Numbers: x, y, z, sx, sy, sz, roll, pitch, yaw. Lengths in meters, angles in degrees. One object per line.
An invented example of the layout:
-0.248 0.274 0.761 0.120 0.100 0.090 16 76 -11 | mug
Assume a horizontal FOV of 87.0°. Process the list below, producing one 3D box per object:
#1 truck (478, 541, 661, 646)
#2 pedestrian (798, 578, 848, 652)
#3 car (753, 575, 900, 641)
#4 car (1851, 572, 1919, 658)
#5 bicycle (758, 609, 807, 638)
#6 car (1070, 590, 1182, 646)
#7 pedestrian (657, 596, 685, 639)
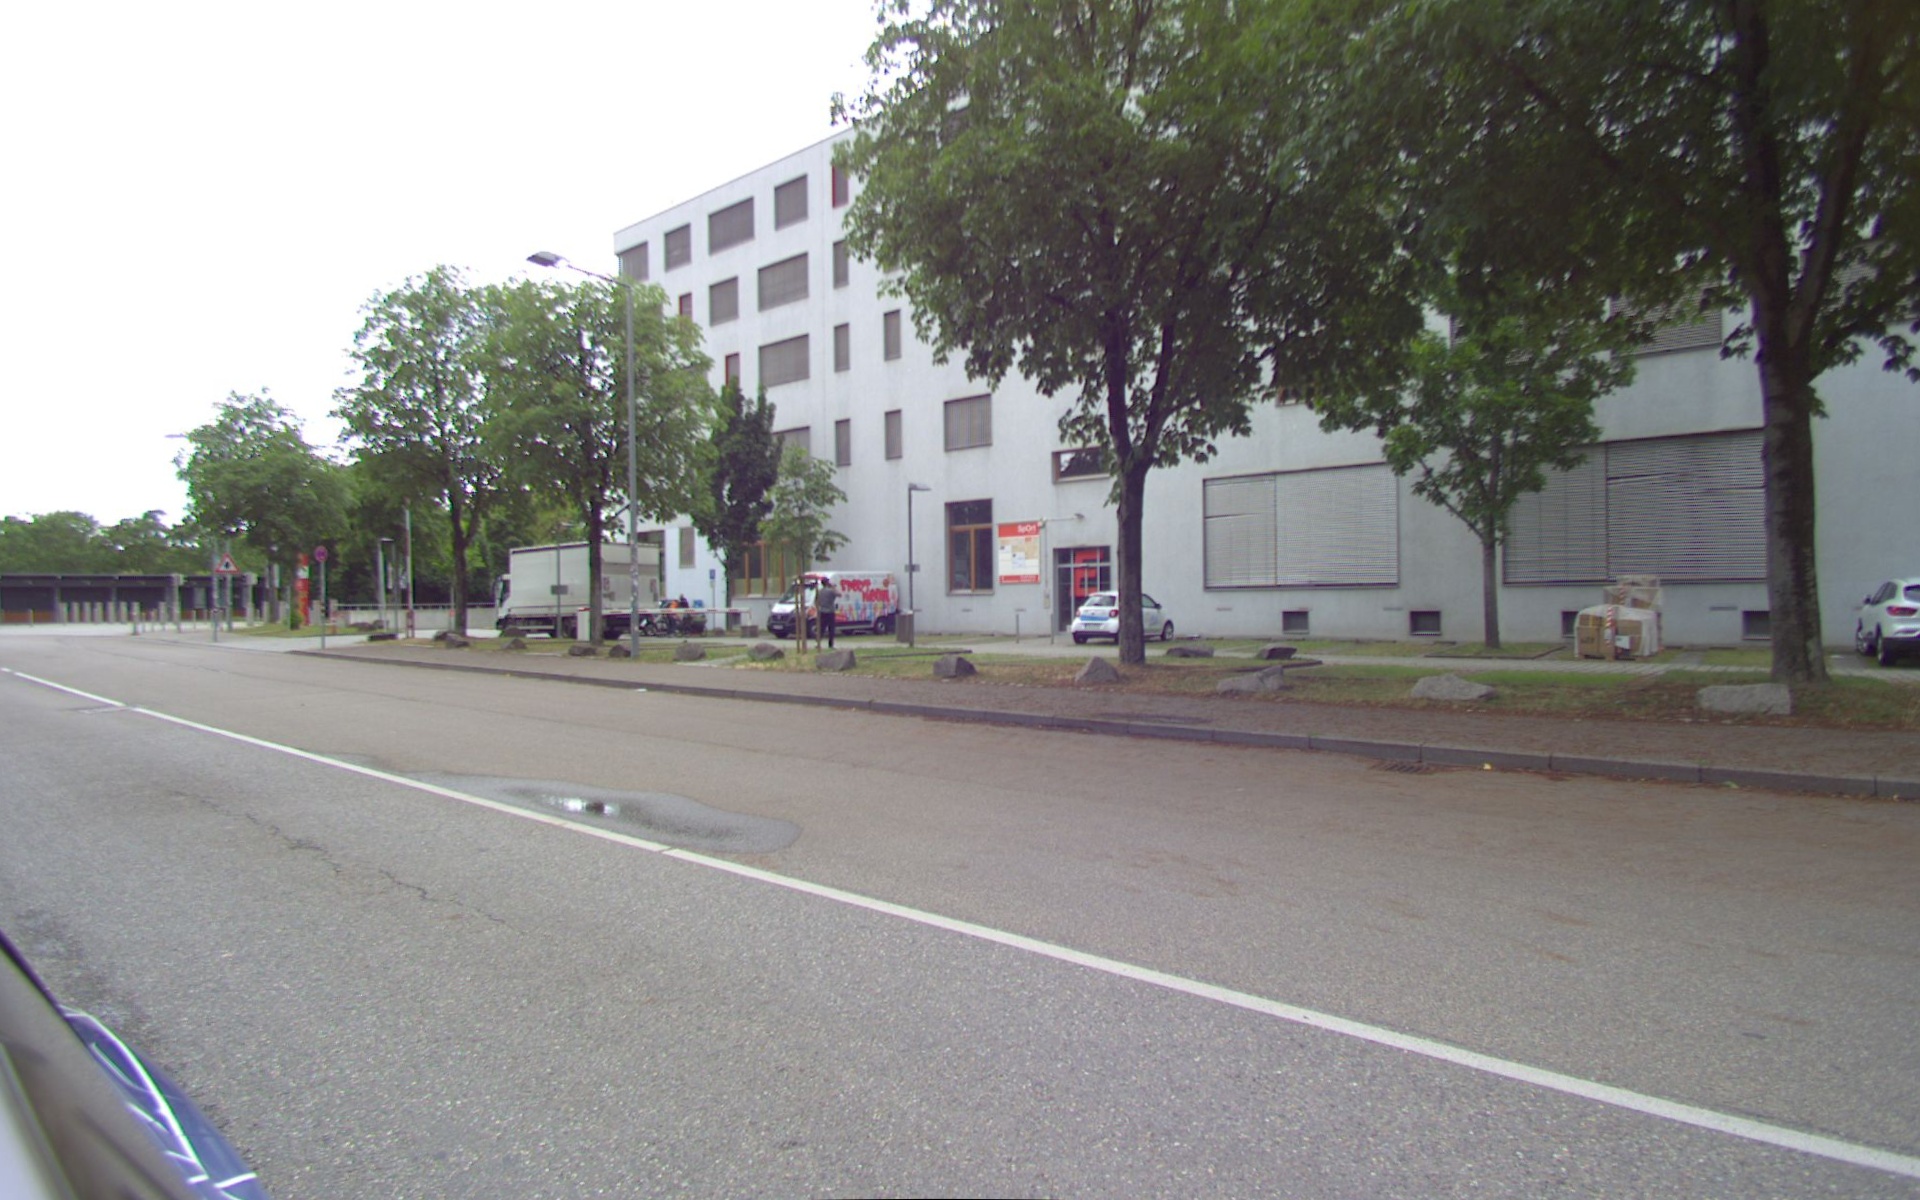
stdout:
-15.091 -0.279 38.764 8.354 3.627 2.651 0 1 38 | truck
-3.199 0.341 23.706 0.785 1.684 0.835 0 1 37 | pedestrian
-4.915 0.219 38.132 2.078 2.296 5.569 0 1 40 | car
17.932 0.215 18.651 1.896 1.467 3.963 0 1 36 | car
-7.257 0.947 41.434 0.614 1.078 2.002 0 2 44 | bicycle
4.958 0.480 29.943 1.691 1.511 3.576 0 1 40 | car
-11.220 0.677 39.303 0.876 1.618 0.679 0 1 2 | pedestrian
